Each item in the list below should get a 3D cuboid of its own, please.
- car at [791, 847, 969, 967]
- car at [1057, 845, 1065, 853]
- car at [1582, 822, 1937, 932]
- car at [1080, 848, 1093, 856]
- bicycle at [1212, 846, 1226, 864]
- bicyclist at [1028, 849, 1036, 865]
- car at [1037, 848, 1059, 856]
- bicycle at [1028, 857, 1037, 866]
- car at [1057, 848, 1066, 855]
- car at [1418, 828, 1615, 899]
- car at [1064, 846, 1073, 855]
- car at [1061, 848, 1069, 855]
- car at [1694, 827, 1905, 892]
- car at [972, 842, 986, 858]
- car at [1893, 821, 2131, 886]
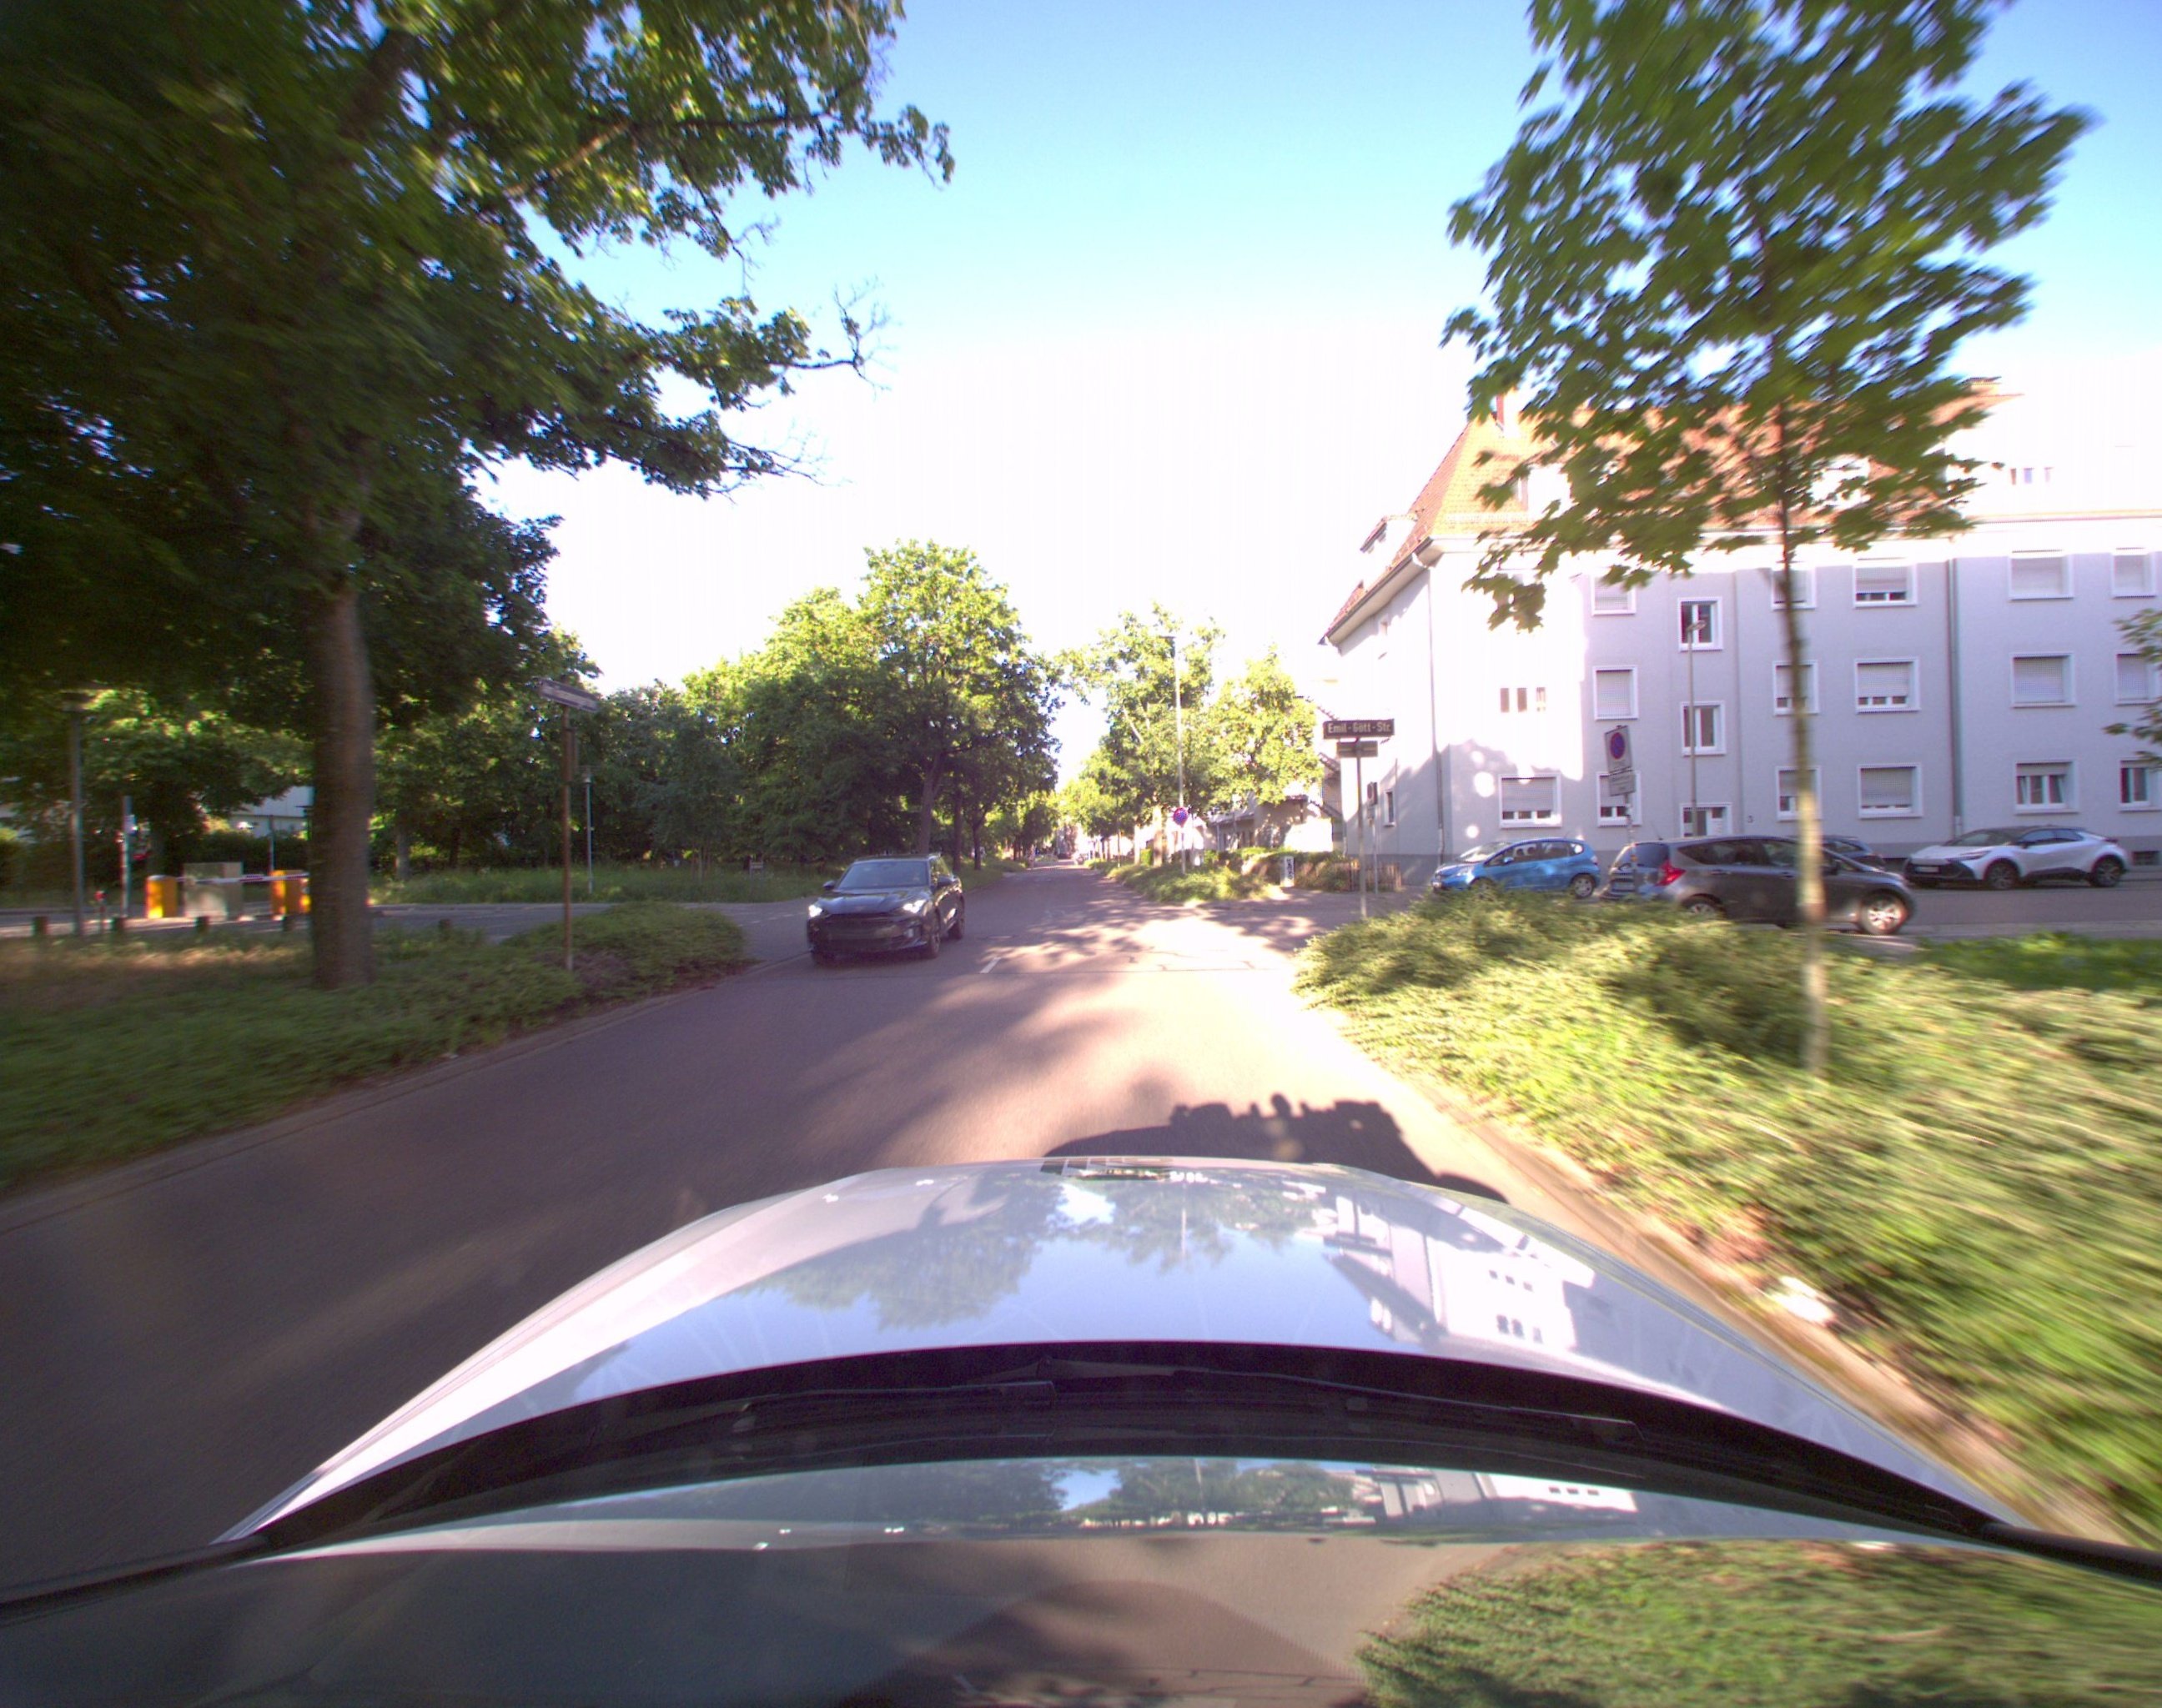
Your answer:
[{"bbox_3d":[-3.103,0.721,13.574,1.838,1.578,4.334,-3,1,-1],"label":"car"},{"bbox_3d":[-5.119,-1.308,207.397,1.808,2.050,3.993,0,0,-5],"label":"car"},{"bbox_3d":[10.193,0.332,12.453,4.029,1.514,1.726,-1,-1,-1],"label":"car"},{"bbox_3d":[1.026,-0.428,154.073,1.811,1.501,3.988,-2,1,-9],"label":"car"},{"bbox_3d":[9.408,0.048,55.415,0.616,1.191,1.752,0,0,-2],"label":"bicycle"},{"bbox_3d":[-4.723,0.265,78.790,0.630,1.554,1.003,-3,0,2],"label":"bicyclist"},{"bbox_3d":[-6.143,-0.321,151.780,3.987,1.501,1.811,0,0,-10],"label":"car"},{"bbox_3d":[-4.704,0.735,78.732,0.636,0.742,2.127,-3,0,3],"label":"bicycle"},{"bbox_3d":[-4.762,-0.621,197.200,1.808,1.501,3.993,0,0,-5],"label":"car"},{"bbox_3d":[10.746,0.190,20.265,3.977,1.581,1.809,-2,1,-2],"label":"car"},{"bbox_3d":[-2.747,-0.786,182.597,1.808,1.925,3.993,0,0,-5],"label":"car"},{"bbox_3d":[-3.761,-0.608,190.699,1.808,1.501,3.993,0,0,-5],"label":"car"},{"bbox_3d":[17.734,0.118,20.227,3.811,1.497,1.648,-1,0,0],"label":"car"},{"bbox_3d":[-16.333,-0.706,129.973,1.994,2.508,3.986,0,0,-10],"label":"car"},{"bbox_3d":[23.185,-0.027,20.385,4.000,1.497,1.734,-1,0,0],"label":"car"}]
